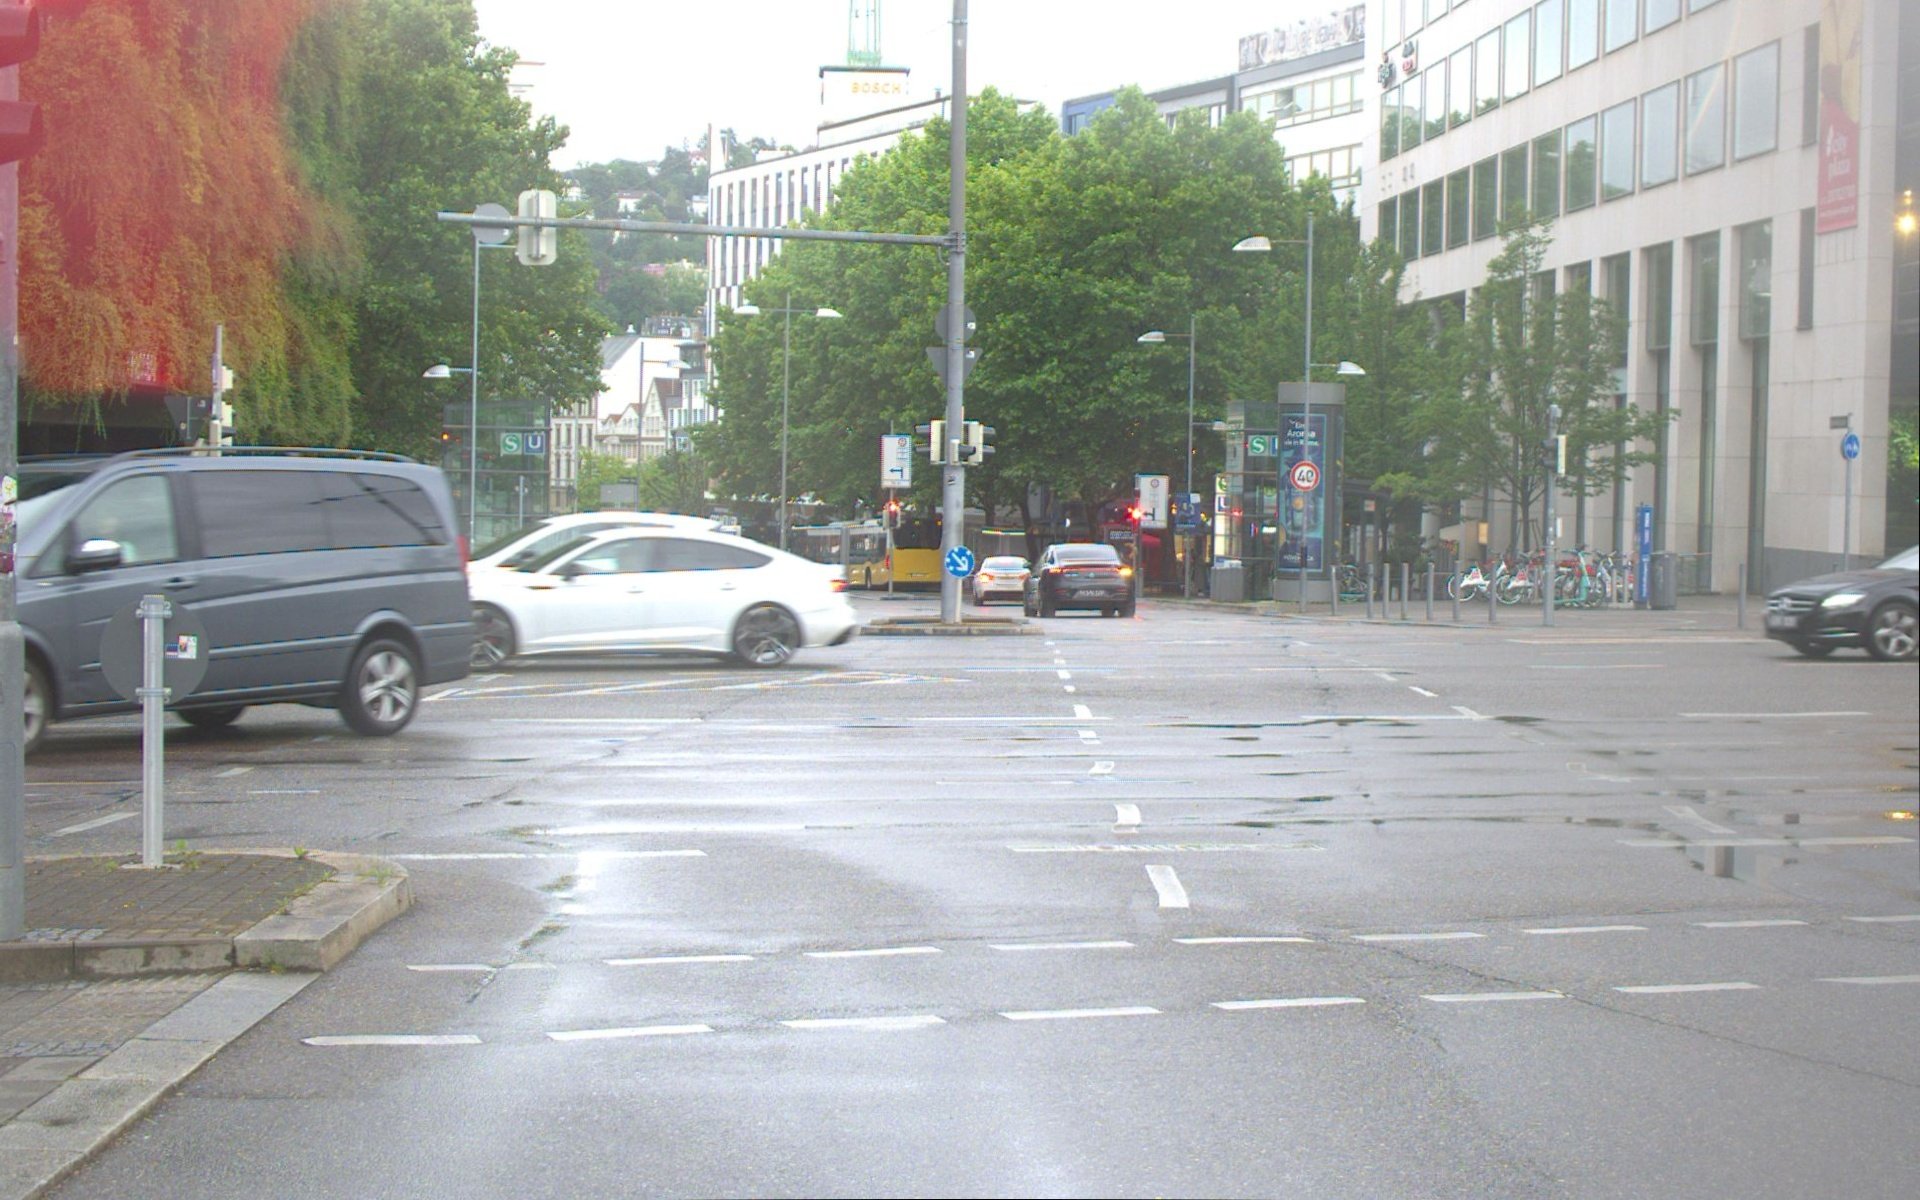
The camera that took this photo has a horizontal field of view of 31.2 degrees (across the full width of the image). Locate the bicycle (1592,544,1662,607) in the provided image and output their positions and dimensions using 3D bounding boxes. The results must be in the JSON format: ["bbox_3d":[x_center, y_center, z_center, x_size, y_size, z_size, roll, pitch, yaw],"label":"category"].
[{"bbox_3d":[13.003,-0.474,66.956,0.586,1.190,1.779,1,1,38],"label":"bicycle"}]

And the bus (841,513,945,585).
[{"bbox_3d":[-2.894,-2.199,145.944,2.627,2.985,7.451,0,1,-16],"label":"bus"}]

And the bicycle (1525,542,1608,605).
[{"bbox_3d":[11.700,-0.513,66.398,0.584,1.190,1.784,1,1,-28],"label":"bicycle"}]

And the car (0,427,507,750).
[{"bbox_3d":[-5.446,-0.084,22.407,1.998,1.920,4.954,1,1,38],"label":"car"}]

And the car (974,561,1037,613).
[{"bbox_3d":[1.347,-0.399,103.253,1.781,1.503,4.000,1,1,-1],"label":"car"}]

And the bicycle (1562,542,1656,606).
[{"bbox_3d":[12.243,-0.490,64.846,1.624,1.190,0.586,1,0,26],"label":"bicycle"}]

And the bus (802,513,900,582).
[{"bbox_3d":[-4.908,-2.359,153.089,2.627,2.985,7.451,0,1,-16],"label":"bus"}]

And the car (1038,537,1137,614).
[{"bbox_3d":[2.539,-0.501,69.417,1.781,1.503,4.000,1,1,-1],"label":"car"}]

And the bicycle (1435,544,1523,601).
[{"bbox_3d":[10.984,-0.587,72.777,1.777,1.190,0.586,1,0,2],"label":"bicycle"}]

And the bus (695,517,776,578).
[{"bbox_3d":[-11.351,-2.653,173.235,2.627,2.985,7.330,0,1,-16],"label":"bus"}]

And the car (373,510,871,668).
[{"bbox_3d":[-3.382,-0.118,34.224,4.682,1.507,1.811,0,1,-16],"label":"car"}]

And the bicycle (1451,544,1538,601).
[{"bbox_3d":[11.560,-0.594,74.329,1.777,1.190,0.586,1,0,2],"label":"bicycle"}]

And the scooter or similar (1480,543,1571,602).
[{"bbox_3d":[11.677,-0.559,70.985,1.777,1.190,0.586,1,0,2],"label":"scooter or similar"}]

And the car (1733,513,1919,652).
[{"bbox_3d":[11.288,-0.152,38.288,4.845,1.472,2.000,1,-1,-16],"label":"car"}]

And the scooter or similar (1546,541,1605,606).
[{"bbox_3d":[11.489,-0.494,64.161,0.963,1.190,0.454,1,1,40],"label":"scooter or similar"}]

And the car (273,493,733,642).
[{"bbox_3d":[-4.930,-0.342,36.974,4.682,1.507,1.811,1,1,-16],"label":"car"}]

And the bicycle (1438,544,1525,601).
[{"bbox_3d":[11.132,-0.591,73.411,1.777,1.190,0.586,1,0,2],"label":"bicycle"}]

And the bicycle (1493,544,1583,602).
[{"bbox_3d":[12.031,-0.561,71.608,1.777,1.190,0.586,1,0,2],"label":"bicycle"}]
